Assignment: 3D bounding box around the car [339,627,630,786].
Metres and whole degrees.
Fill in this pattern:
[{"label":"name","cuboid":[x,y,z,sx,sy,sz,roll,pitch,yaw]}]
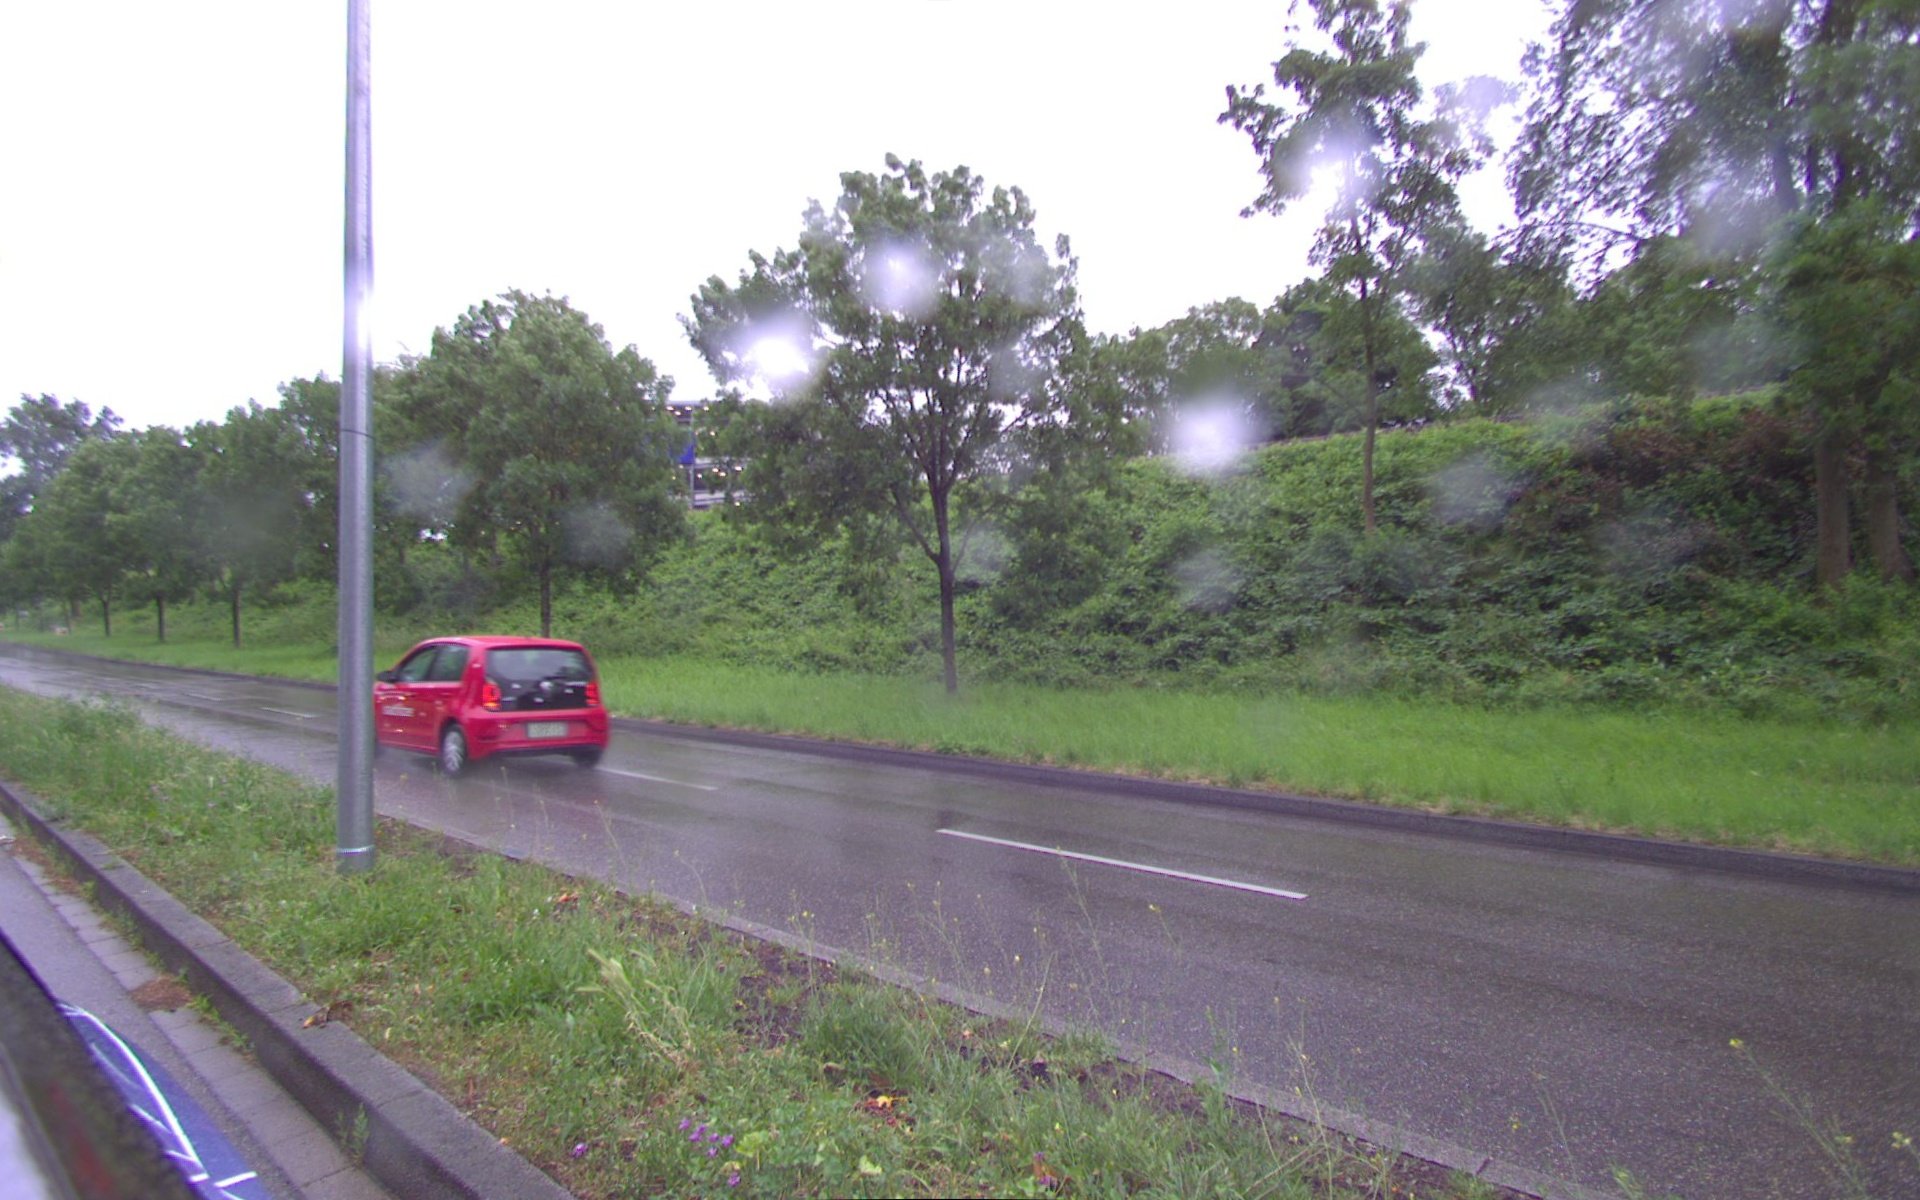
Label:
[{"label":"car","cuboid":[-5.524,1.102,11.598,3.613,1.525,1.697,-2,-4,42]}]
